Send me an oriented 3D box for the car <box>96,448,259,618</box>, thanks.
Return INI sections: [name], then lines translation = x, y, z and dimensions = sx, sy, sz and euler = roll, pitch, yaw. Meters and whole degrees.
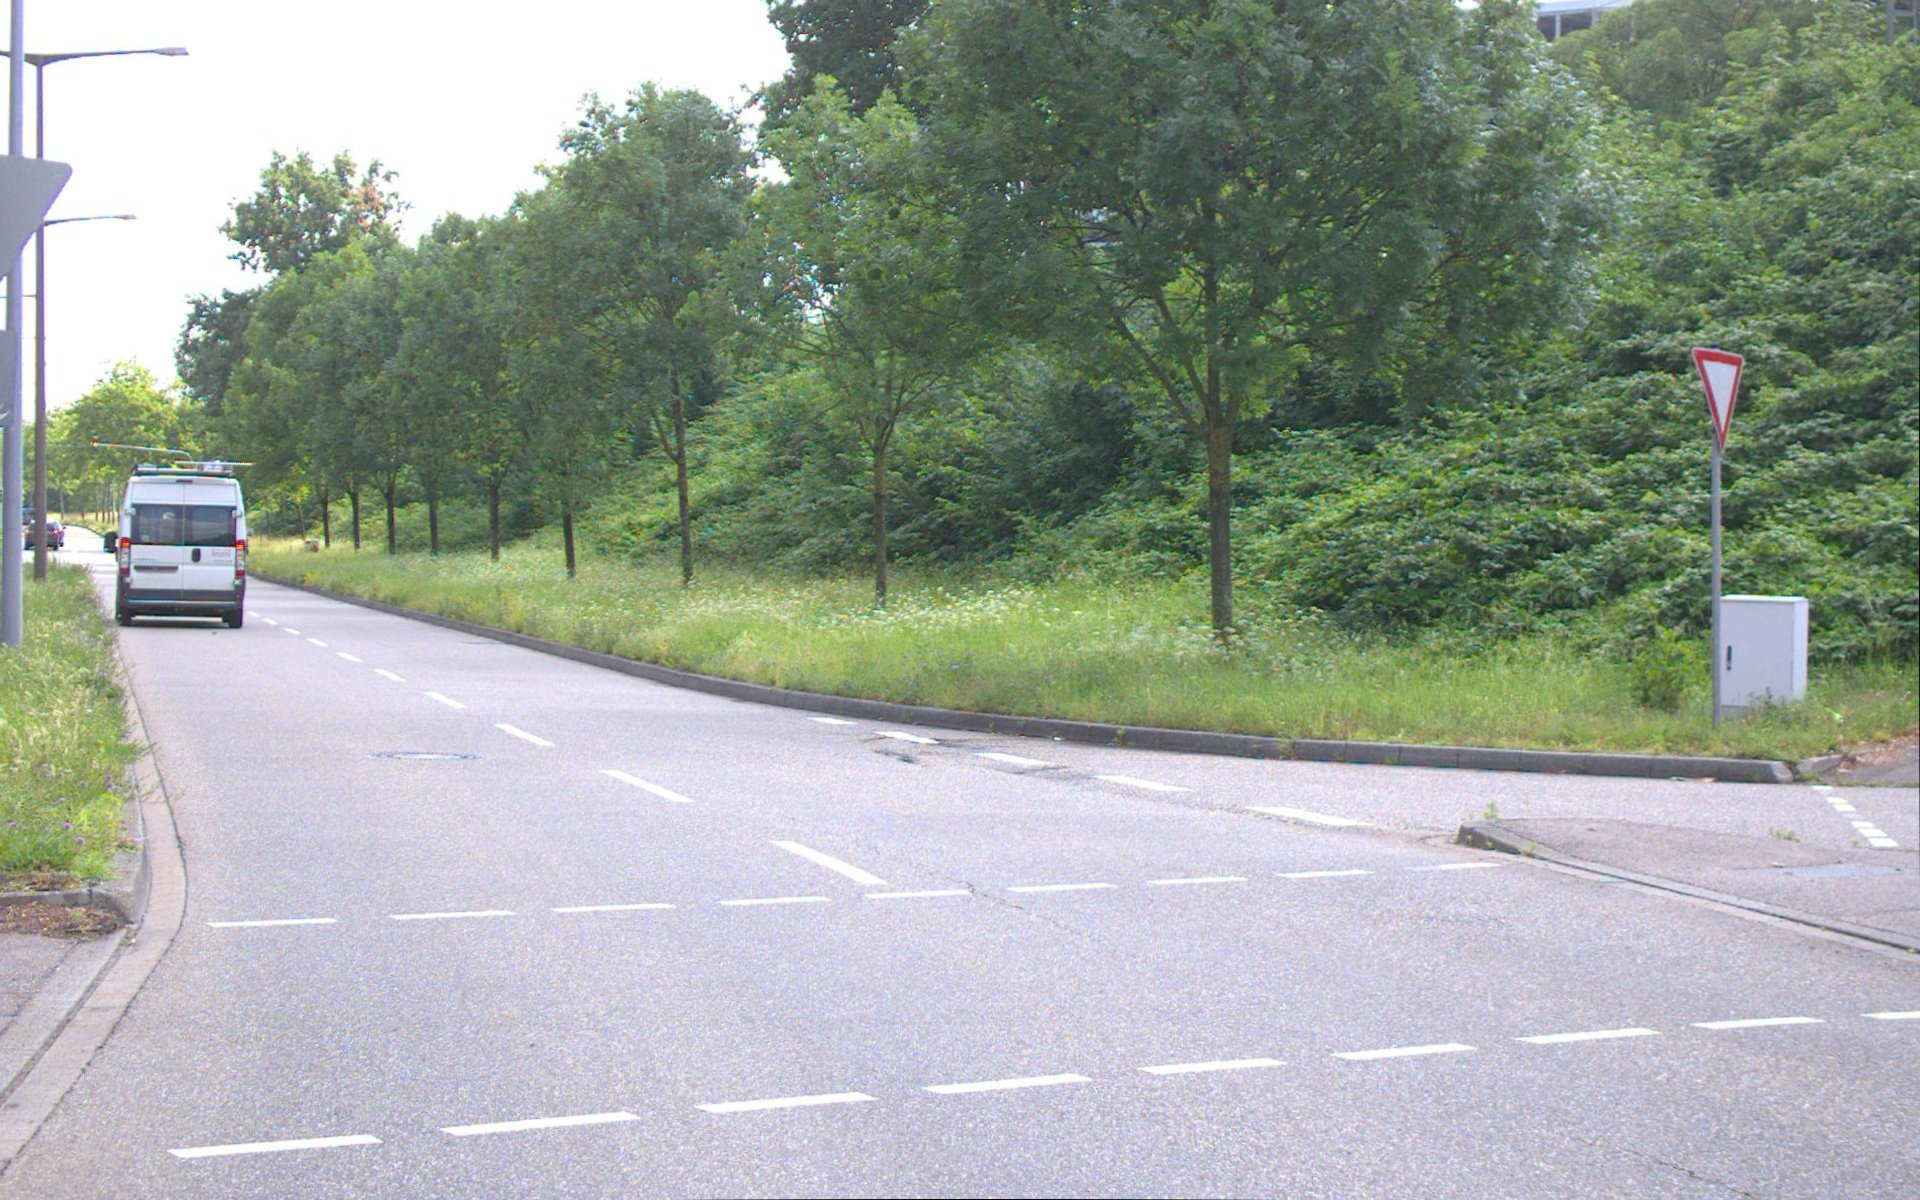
[car]
translation = -13.215, -1.142, 57.828
dimensions = 2.197, 2.717, 4.933
euler = -1, 1, -18
